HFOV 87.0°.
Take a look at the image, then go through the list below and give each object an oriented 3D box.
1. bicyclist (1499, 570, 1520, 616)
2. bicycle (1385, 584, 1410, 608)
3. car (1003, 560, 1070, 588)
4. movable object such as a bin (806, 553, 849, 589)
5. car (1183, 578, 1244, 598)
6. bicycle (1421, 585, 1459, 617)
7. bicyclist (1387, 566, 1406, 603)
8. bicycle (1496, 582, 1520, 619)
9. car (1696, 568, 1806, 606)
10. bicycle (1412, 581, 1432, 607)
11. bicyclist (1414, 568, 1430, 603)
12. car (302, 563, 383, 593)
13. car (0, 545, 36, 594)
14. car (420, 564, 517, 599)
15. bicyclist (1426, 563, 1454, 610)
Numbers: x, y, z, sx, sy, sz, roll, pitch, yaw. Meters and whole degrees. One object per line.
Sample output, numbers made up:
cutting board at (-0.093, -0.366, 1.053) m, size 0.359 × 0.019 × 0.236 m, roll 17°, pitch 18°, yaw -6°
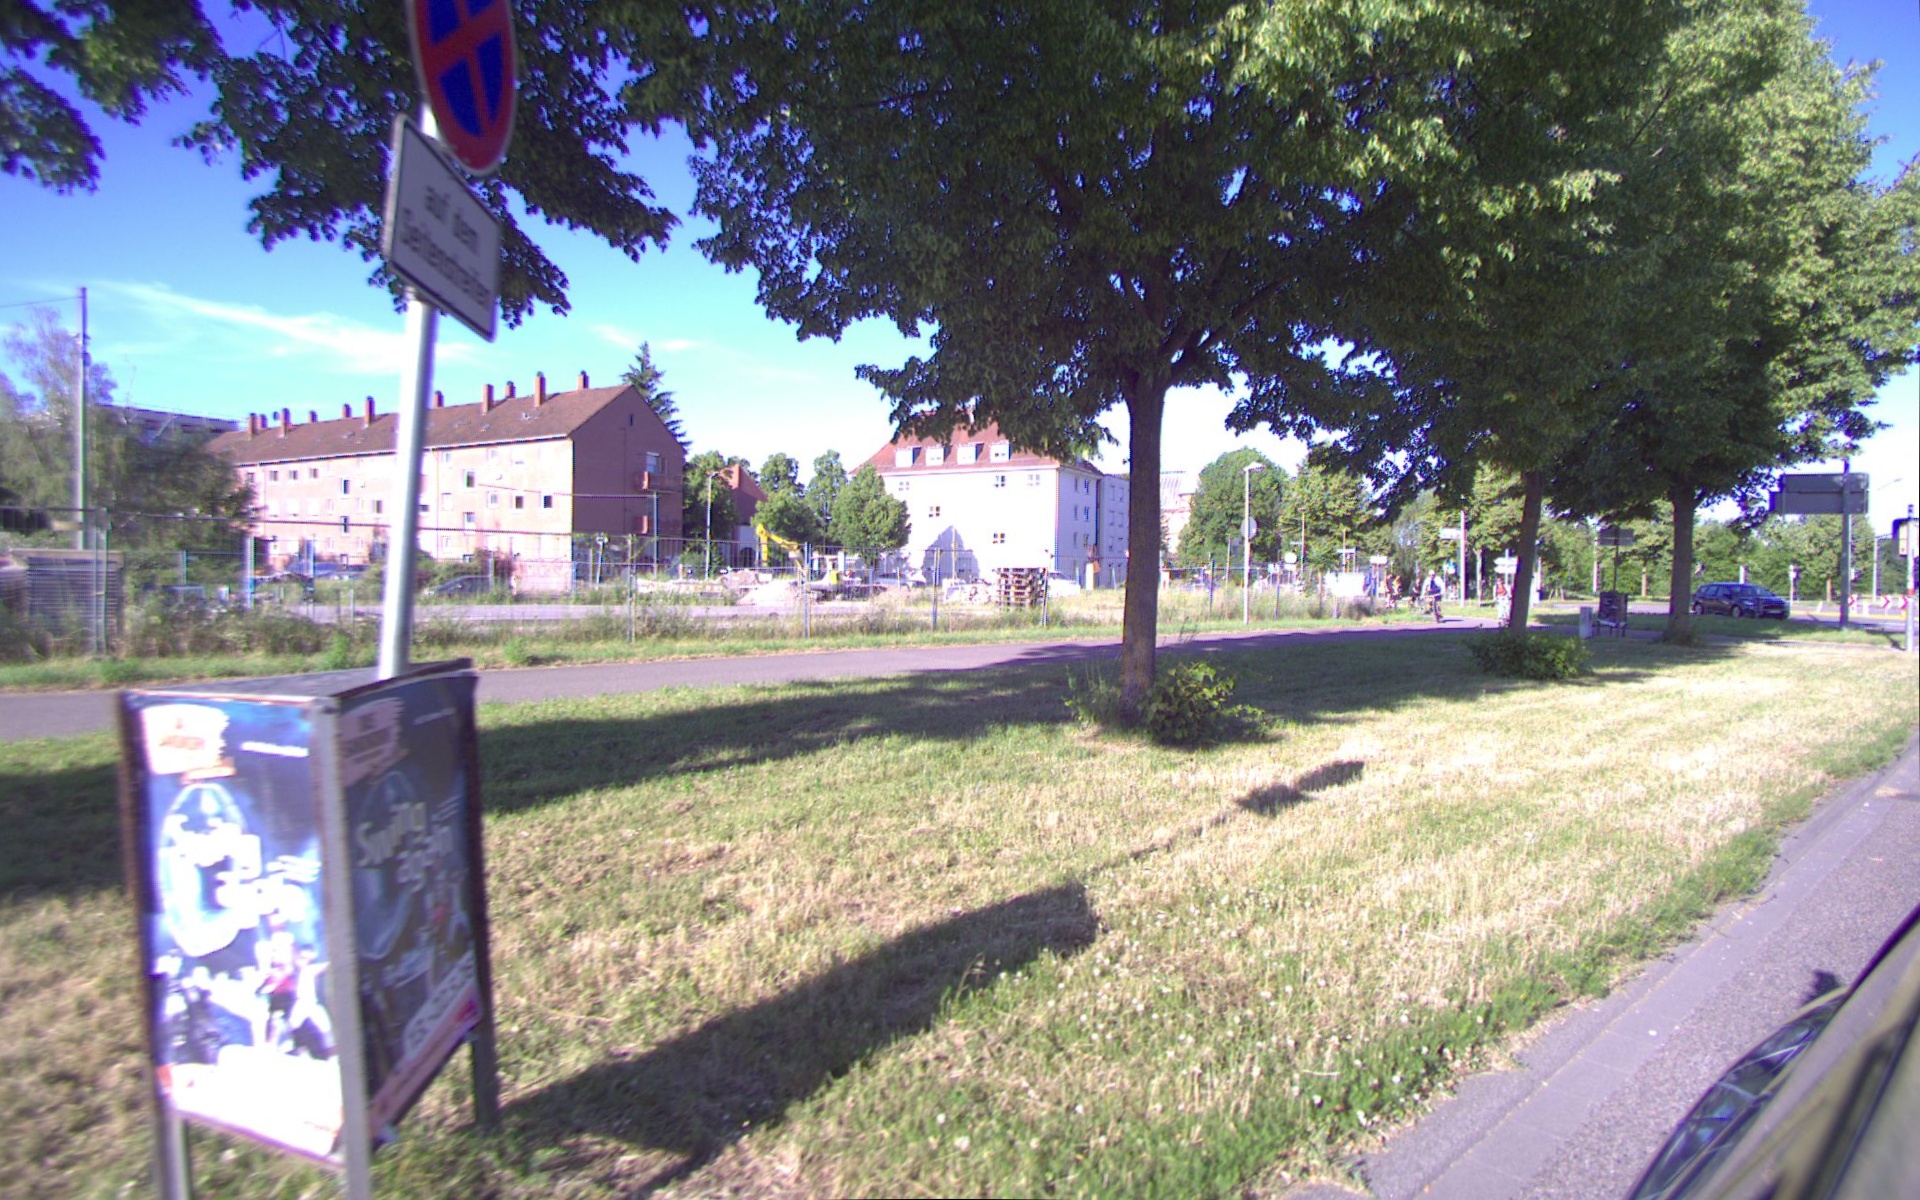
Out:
bicyclist at (18.117, -0.244, 33.383) m, size 0.499 × 1.491 × 0.827 m, roll 1°, pitch 1°, yaw 23°
bicycle at (19.262, -0.187, 44.594) m, size 0.583 × 0.972 × 1.896 m, roll 0°, pitch 2°, yaw 10°
car at (5.586, -1.911, 74.025) m, size 4.433 × 2.038 × 1.980 m, roll 1°, pitch 2°, yaw 29°
movable object such as a bin at (-7.735, -1.717, 59.111) m, size 2.033 × 2.038 × 1.996 m, roll 0°, pitch 2°, yaw 8°
car at (18.100, -0.877, 72.266) m, size 3.956 × 1.394 × 1.743 m, roll 0°, pitch 2°, yaw 24°
bicycle at (16.246, 0.026, 34.280) m, size 0.646 × 1.025 × 1.816 m, roll 1°, pitch 1°, yaw 8°
bicyclist at (19.277, -0.711, 44.688) m, size 0.583 × 1.606 × 0.963 m, roll 0°, pitch 2°, yaw 10°
bicycle at (18.198, 0.007, 33.607) m, size 0.501 × 1.166 × 1.593 m, roll 1°, pitch 1°, yaw 22°
car at (32.101, -0.562, 41.237) m, size 1.820 × 1.445 × 3.938 m, roll 0°, pitch 2°, yaw 9°
bicycle at (20.439, -0.257, 44.804) m, size 0.472 × 1.095 × 1.639 m, roll 0°, pitch 2°, yaw 12°
bicyclist at (20.431, -0.648, 44.776) m, size 0.464 × 1.504 × 0.913 m, roll 0°, pitch 2°, yaw 12°
car at (-35.396, -1.263, 58.075) m, size 3.730 × 1.653 × 1.898 m, roll -1°, pitch 2°, yaw -41°
car at (-36.308, -1.129, 36.769) m, size 3.930 × 1.749 × 2.176 m, roll -1°, pitch 2°, yaw -41°
car at (-23.577, -0.892, 48.628) m, size 3.840 × 1.576 × 1.997 m, roll -1°, pitch 2°, yaw -41°
bicyclist at (16.256, -0.460, 34.284) m, size 0.644 × 1.572 × 0.793 m, roll 0°, pitch 1°, yaw 8°
